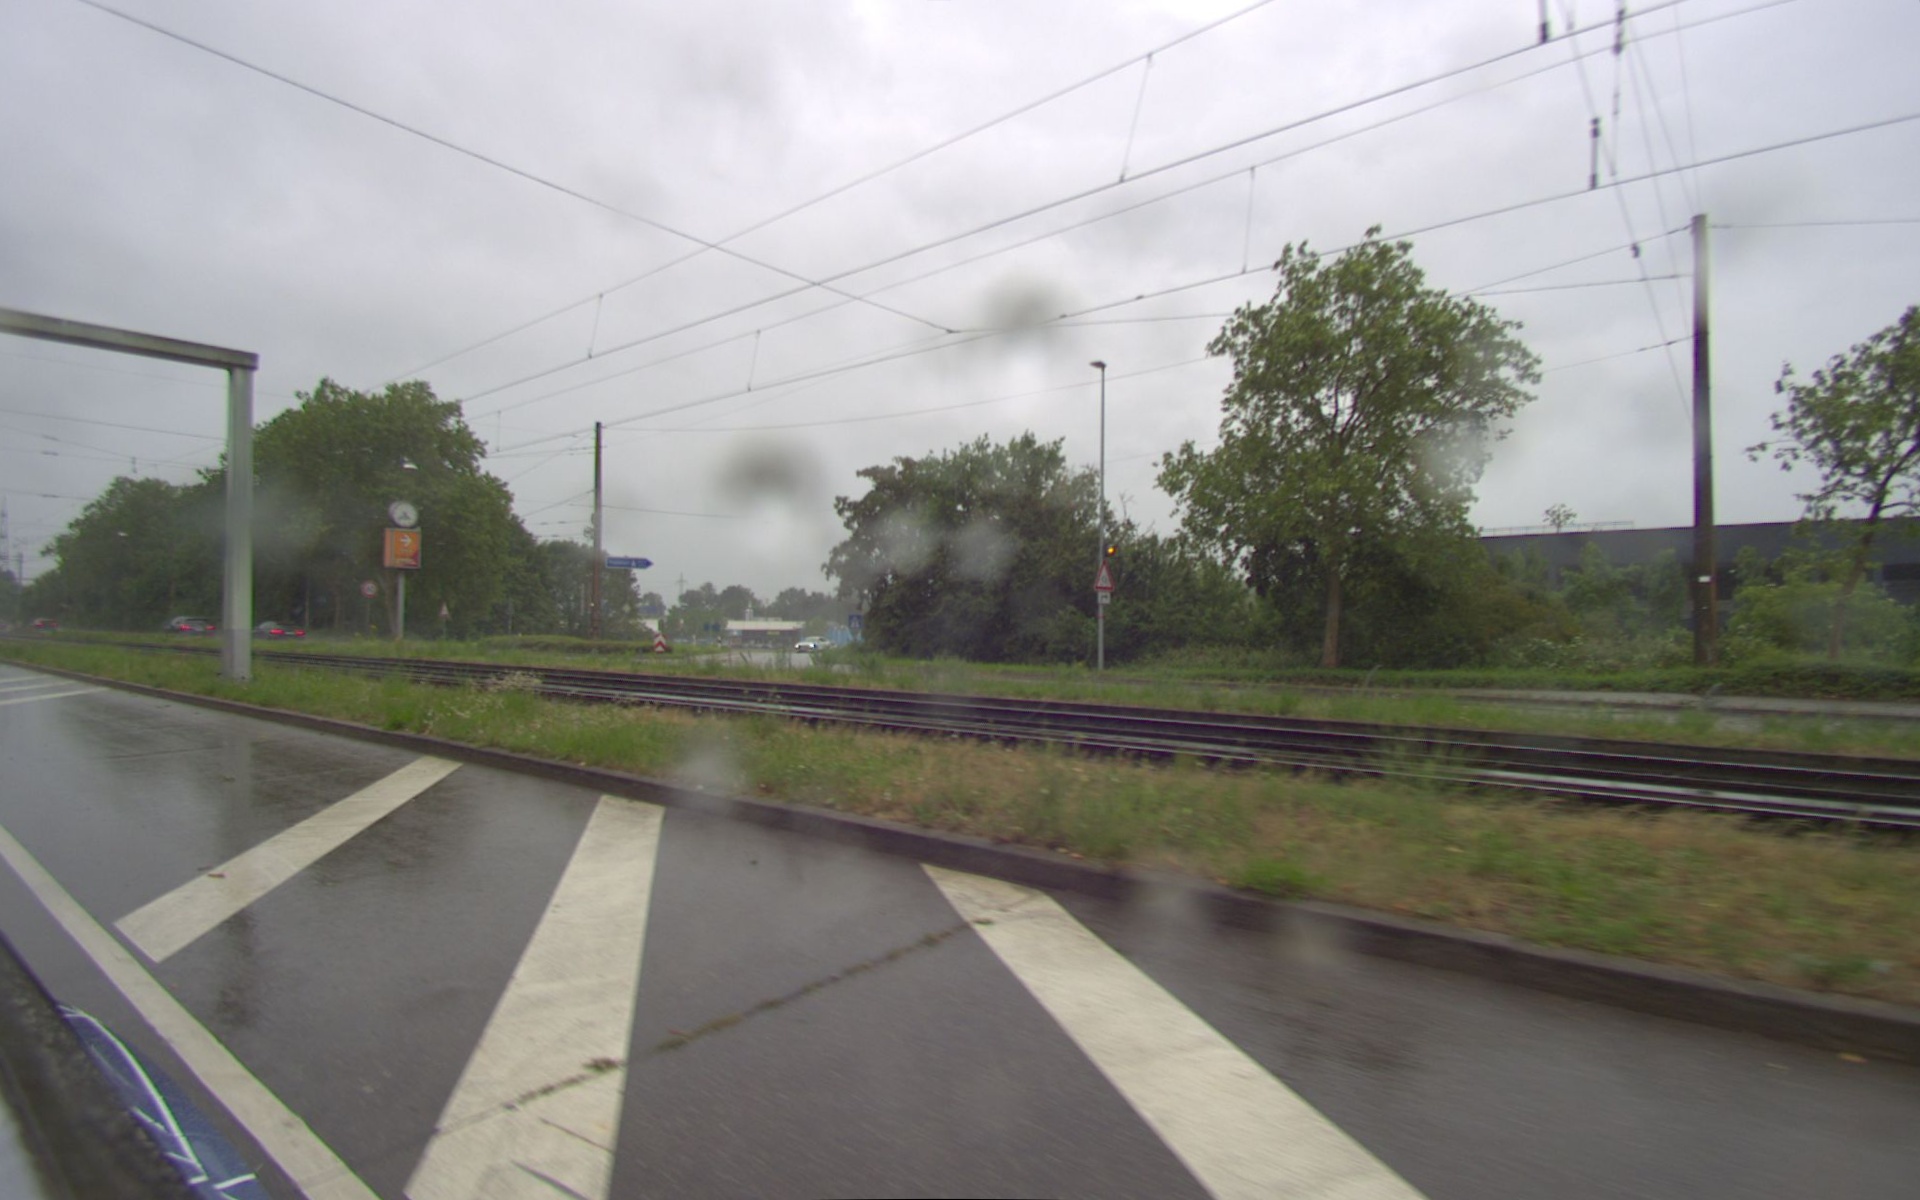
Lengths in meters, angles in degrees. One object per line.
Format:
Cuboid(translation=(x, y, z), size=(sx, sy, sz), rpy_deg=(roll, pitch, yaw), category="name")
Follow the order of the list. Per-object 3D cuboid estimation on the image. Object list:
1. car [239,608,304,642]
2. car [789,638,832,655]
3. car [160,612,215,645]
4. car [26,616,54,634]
Cuboid(translation=(-42.304, 1.536, 62.141), size=(4.513, 2.029, 1.951), rpy_deg=(-1, -2, 38), category="car")
Cuboid(translation=(-13.531, 4.237, 91.927), size=(1.598, 1.366, 4.452), rpy_deg=(0, -1, 26), category="car")
Cuboid(translation=(-47.844, 1.753, 62.657), size=(3.998, 2.029, 1.973), rpy_deg=(-1, -2, 41), category="car")
Cuboid(translation=(-108.590, 2.941, 119.494), size=(3.998, 2.029, 1.973), rpy_deg=(-1, -2, 41), category="car")
